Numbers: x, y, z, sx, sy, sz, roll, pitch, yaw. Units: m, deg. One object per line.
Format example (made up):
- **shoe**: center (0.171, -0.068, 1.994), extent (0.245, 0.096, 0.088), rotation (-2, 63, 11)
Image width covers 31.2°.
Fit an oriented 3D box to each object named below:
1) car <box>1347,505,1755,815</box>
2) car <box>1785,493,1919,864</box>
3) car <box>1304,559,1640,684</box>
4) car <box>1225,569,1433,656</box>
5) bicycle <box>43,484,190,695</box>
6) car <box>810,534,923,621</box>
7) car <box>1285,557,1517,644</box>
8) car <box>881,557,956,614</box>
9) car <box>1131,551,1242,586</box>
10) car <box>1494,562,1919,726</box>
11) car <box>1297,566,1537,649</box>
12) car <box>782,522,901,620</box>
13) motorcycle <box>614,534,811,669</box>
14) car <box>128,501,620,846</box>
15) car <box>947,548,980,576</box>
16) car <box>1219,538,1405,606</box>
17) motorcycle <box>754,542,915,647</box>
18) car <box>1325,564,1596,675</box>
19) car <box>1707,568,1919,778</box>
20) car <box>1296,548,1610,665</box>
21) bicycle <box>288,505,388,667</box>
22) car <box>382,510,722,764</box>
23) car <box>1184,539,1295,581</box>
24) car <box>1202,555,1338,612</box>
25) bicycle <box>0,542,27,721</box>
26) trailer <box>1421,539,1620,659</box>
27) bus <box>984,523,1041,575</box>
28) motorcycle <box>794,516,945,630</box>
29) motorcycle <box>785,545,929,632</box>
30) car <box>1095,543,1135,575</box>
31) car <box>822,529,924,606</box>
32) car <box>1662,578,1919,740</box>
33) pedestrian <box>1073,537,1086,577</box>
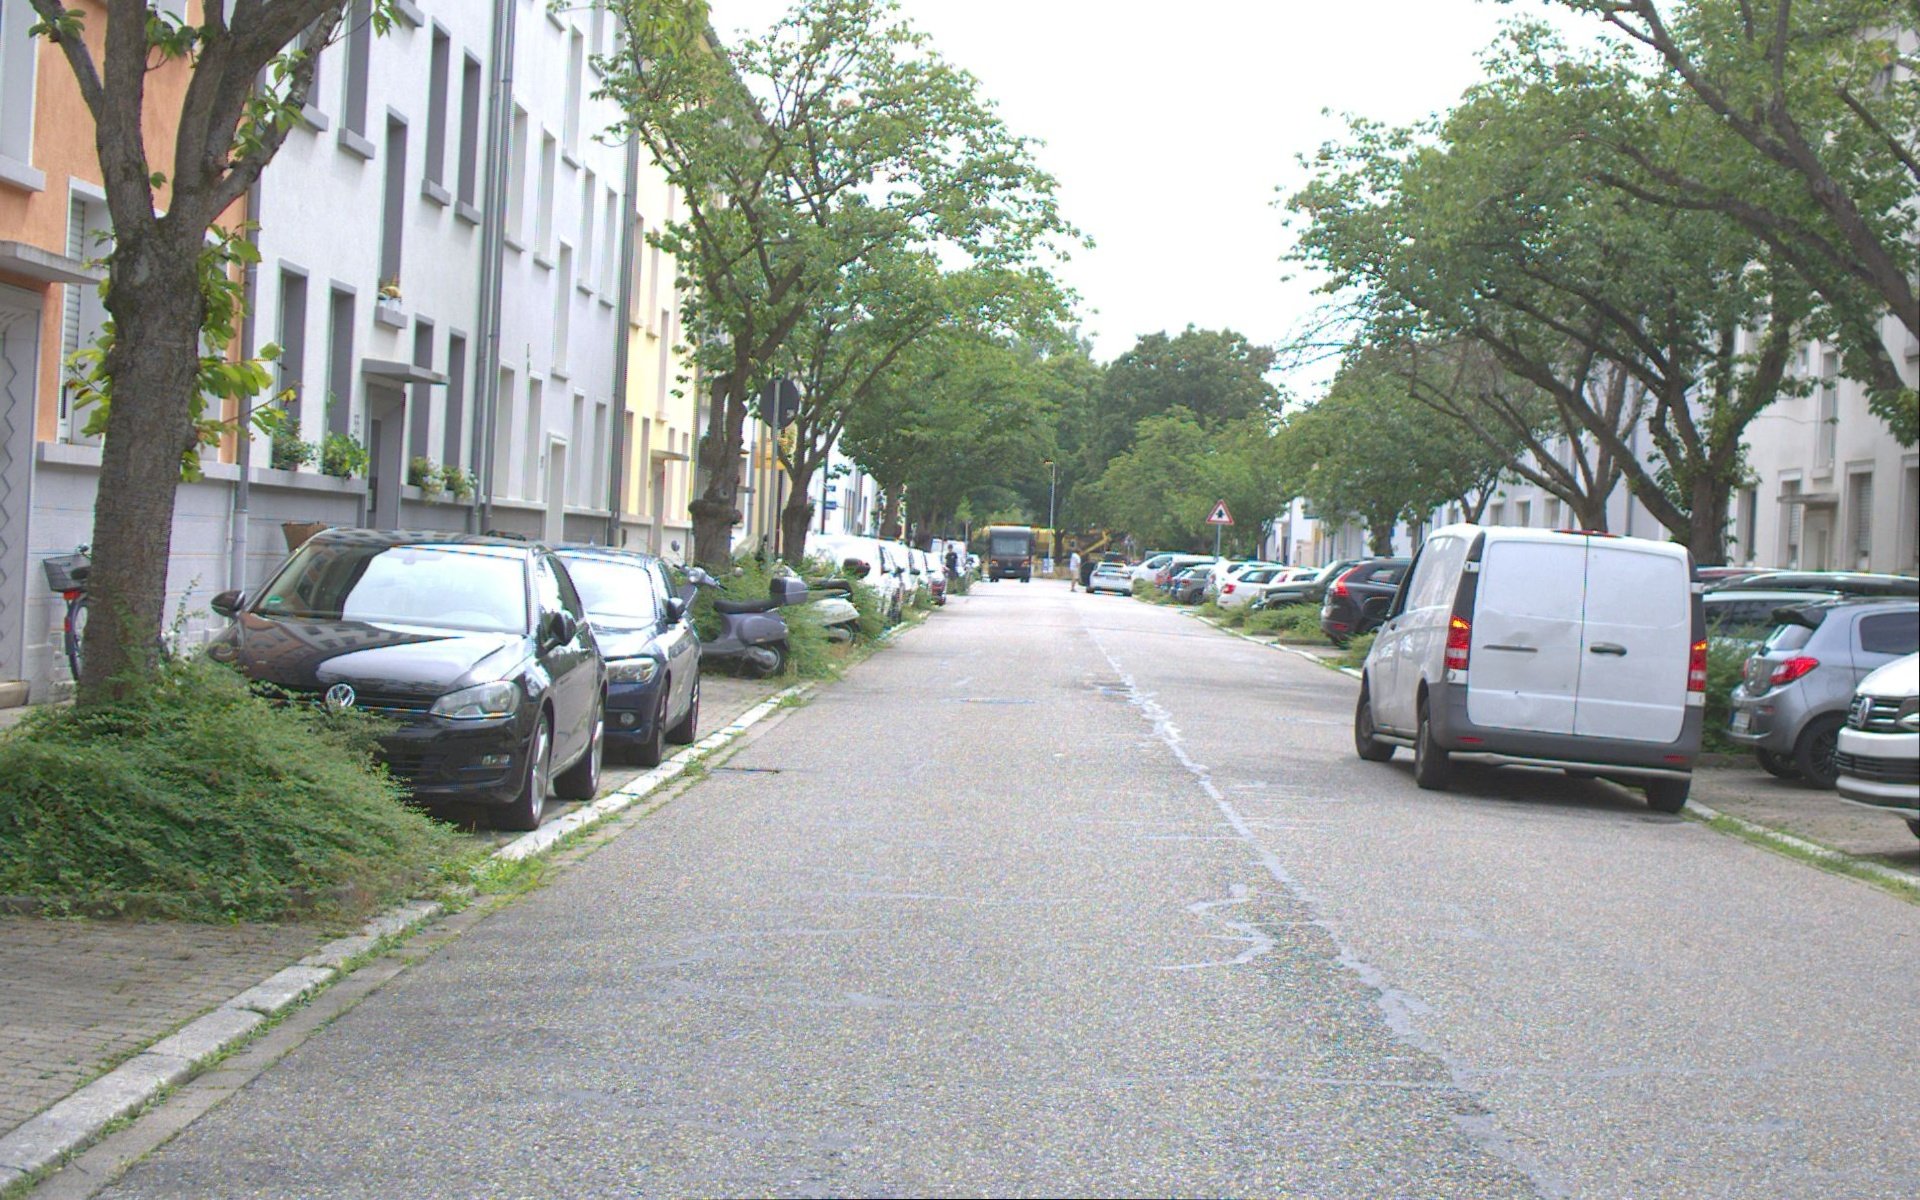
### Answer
- **car**: center (4.193, 0.375, 25.203), extent (1.993, 1.908, 4.704), rotation (4, 1, -1)
- **car**: center (7.649, 0.449, 19.813), extent (5.228, 2.016, 2.074), rotation (1, 0, -3)
- **car**: center (6.867, 0.278, 46.431), extent (4.214, 1.592, 1.904), rotation (1, 0, -1)
- **car**: center (8.216, 0.261, 76.839), extent (4.526, 1.852, 1.793), rotation (1, 0, 4)
- **bicycle**: center (-5.528, -0.074, 22.613), extent (0.429, 1.329, 1.811), rotation (1, 1, 3)
- **car**: center (-1.731, -0.413, 65.016), extent (1.790, 1.487, 4.812), rotation (3, 0, 2)
- **car**: center (8.100, -0.003, 63.323), extent (3.986, 1.525, 1.768), rotation (1, 0, -1)
- **car**: center (-1.104, -0.408, 94.163), extent (1.877, 1.481, 4.512), rotation (1, 1, 1)
- **car**: center (10.396, -1.449, 157.845), extent (4.975, 1.513, 1.769), rotation (1, 0, 0)
- **car**: center (7.427, 0.416, 34.131), extent (3.987, 1.531, 1.638), rotation (1, 0, 1)
- **car**: center (8.115, 0.121, 61.288), extent (3.986, 1.405, 1.768), rotation (1, 0, -1)
- **car**: center (-1.992, -0.497, 58.976), extent (1.757, 1.551, 4.256), rotation (2, 1, 1)
- **motorcycle**: center (-2.649, 0.012, 36.674), extent (2.011, 1.402, 0.793), rotation (1, 0, -10)
- **car**: center (-2.935, 0.322, 18.079), extent (1.836, 1.479, 4.094), rotation (4, 1, -1)
- **car**: center (0.197, -2.072, 188.862), extent (1.621, 1.497, 4.000), rotation (1, 1, 2)
- **car**: center (8.973, -0.708, 87.994), extent (4.615, 1.658, 1.892), rotation (1, 0, 2)
- **motorcycle**: center (-1.787, -0.078, 49.196), extent (2.231, 1.476, 0.597), rotation (1, 0, -25)
- **car**: center (8.146, 0.305, 56.259), extent (4.215, 1.730, 1.903), rotation (1, 0, 4)
- **car**: center (7.792, 0.561, 26.928), extent (3.478, 1.568, 1.814), rotation (1, 0, 1)
- **car**: center (7.063, 0.080, 49.524), extent (4.214, 1.592, 1.904), rotation (1, 0, -1)
- **bicycle**: center (-5.286, -0.121, 29.272), extent (0.429, 1.329, 1.811), rotation (1, 1, 3)
- **car**: center (-2.789, 0.221, 24.357), extent (1.836, 1.479, 4.121), rotation (5, 0, -1)
- **car**: center (9.596, -1.374, 118.232), extent (3.748, 1.361, 1.773), rotation (1, 0, 2)
- **car**: center (9.199, -0.502, 102.187), extent (3.924, 1.627, 1.868), rotation (1, 0, 2)
- **bicycle**: center (-5.579, 0.178, 18.861), extent (0.367, 1.002, 1.868), rotation (1, 1, 1)
- **trailer**: center (8.784, -0.021, 54.057), extent (2.961, 1.825, 1.400), rotation (1, 0, 5)
- **bus**: center (2.860, -2.783, 189.668), extent (3.004, 2.752, 8.924), rotation (1, 1, 0)
- **motorcycle**: center (-1.445, -0.435, 54.173), extent (0.936, 1.670, 2.473), rotation (2, 1, -42)
- **motorcycle**: center (-1.432, -0.157, 47.785), extent (1.905, 1.187, 0.597), rotation (1, 0, -25)
- **car**: center (6.752, -1.794, 149.724), extent (1.687, 1.349, 3.826), rotation (1, 1, 2)
- **car**: center (-1.825, -0.693, 73.529), extent (1.918, 1.576, 4.382), rotation (1, 1, 2)
- **car**: center (8.606, 0.536, 31.522), extent (3.987, 1.415, 1.638), rotation (1, 0, 1)
- **pedestrian**: center (5.168, -1.870, 149.226), extent (0.522, 1.698, 0.444), rotation (1, 0, 5)
